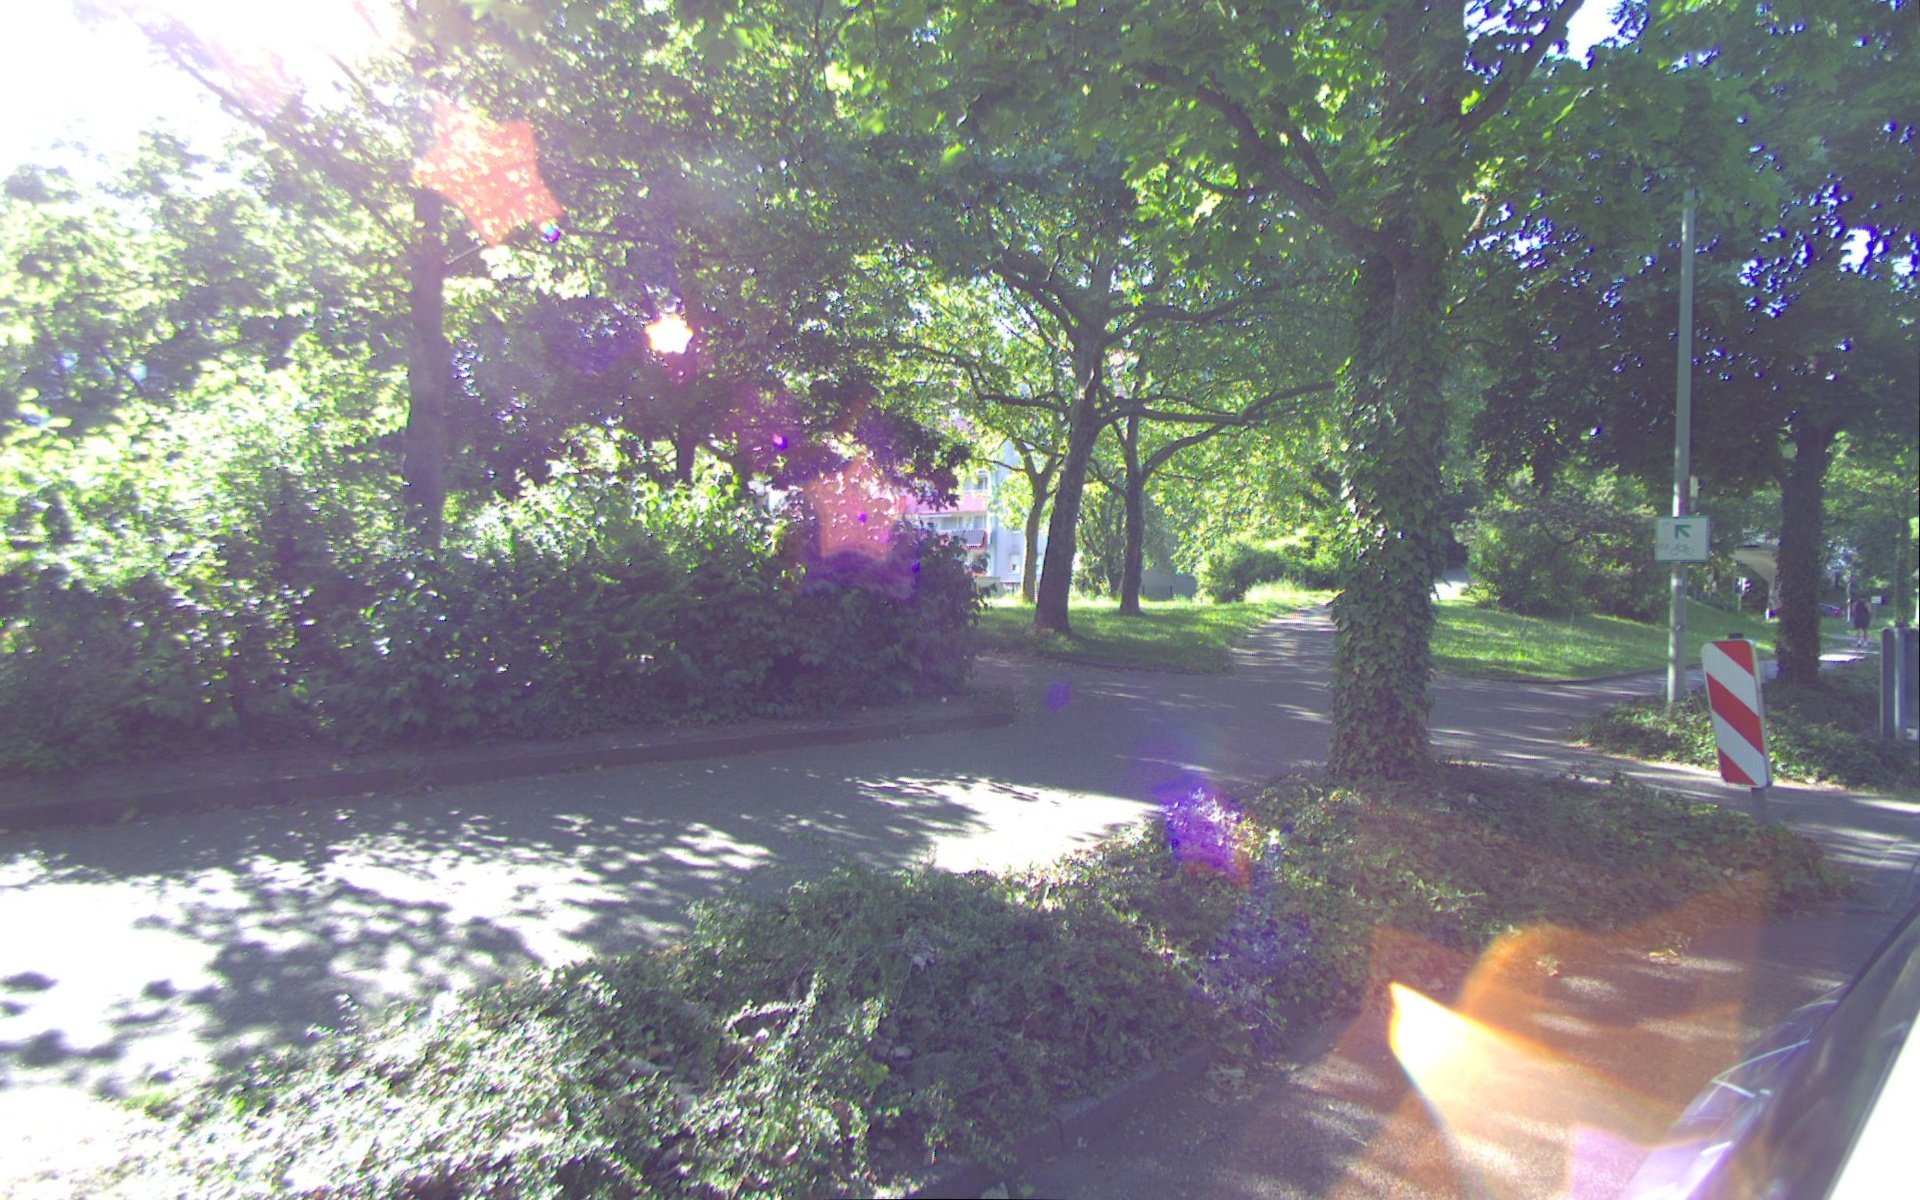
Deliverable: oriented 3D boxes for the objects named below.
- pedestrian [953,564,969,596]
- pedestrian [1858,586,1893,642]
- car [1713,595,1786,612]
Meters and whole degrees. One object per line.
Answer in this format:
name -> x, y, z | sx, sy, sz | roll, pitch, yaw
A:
pedestrian -> 0.073, -1.007, 51.391 | 0.618, 1.609, 0.676 | -1, -1, 19
pedestrian -> 31.241, 0.471, 34.539 | 0.659, 1.855, 0.792 | 1, 0, -41
car -> 59.613, 0.274, 76.458 | 1.726, 1.282, 4.087 | 0, 0, -39
